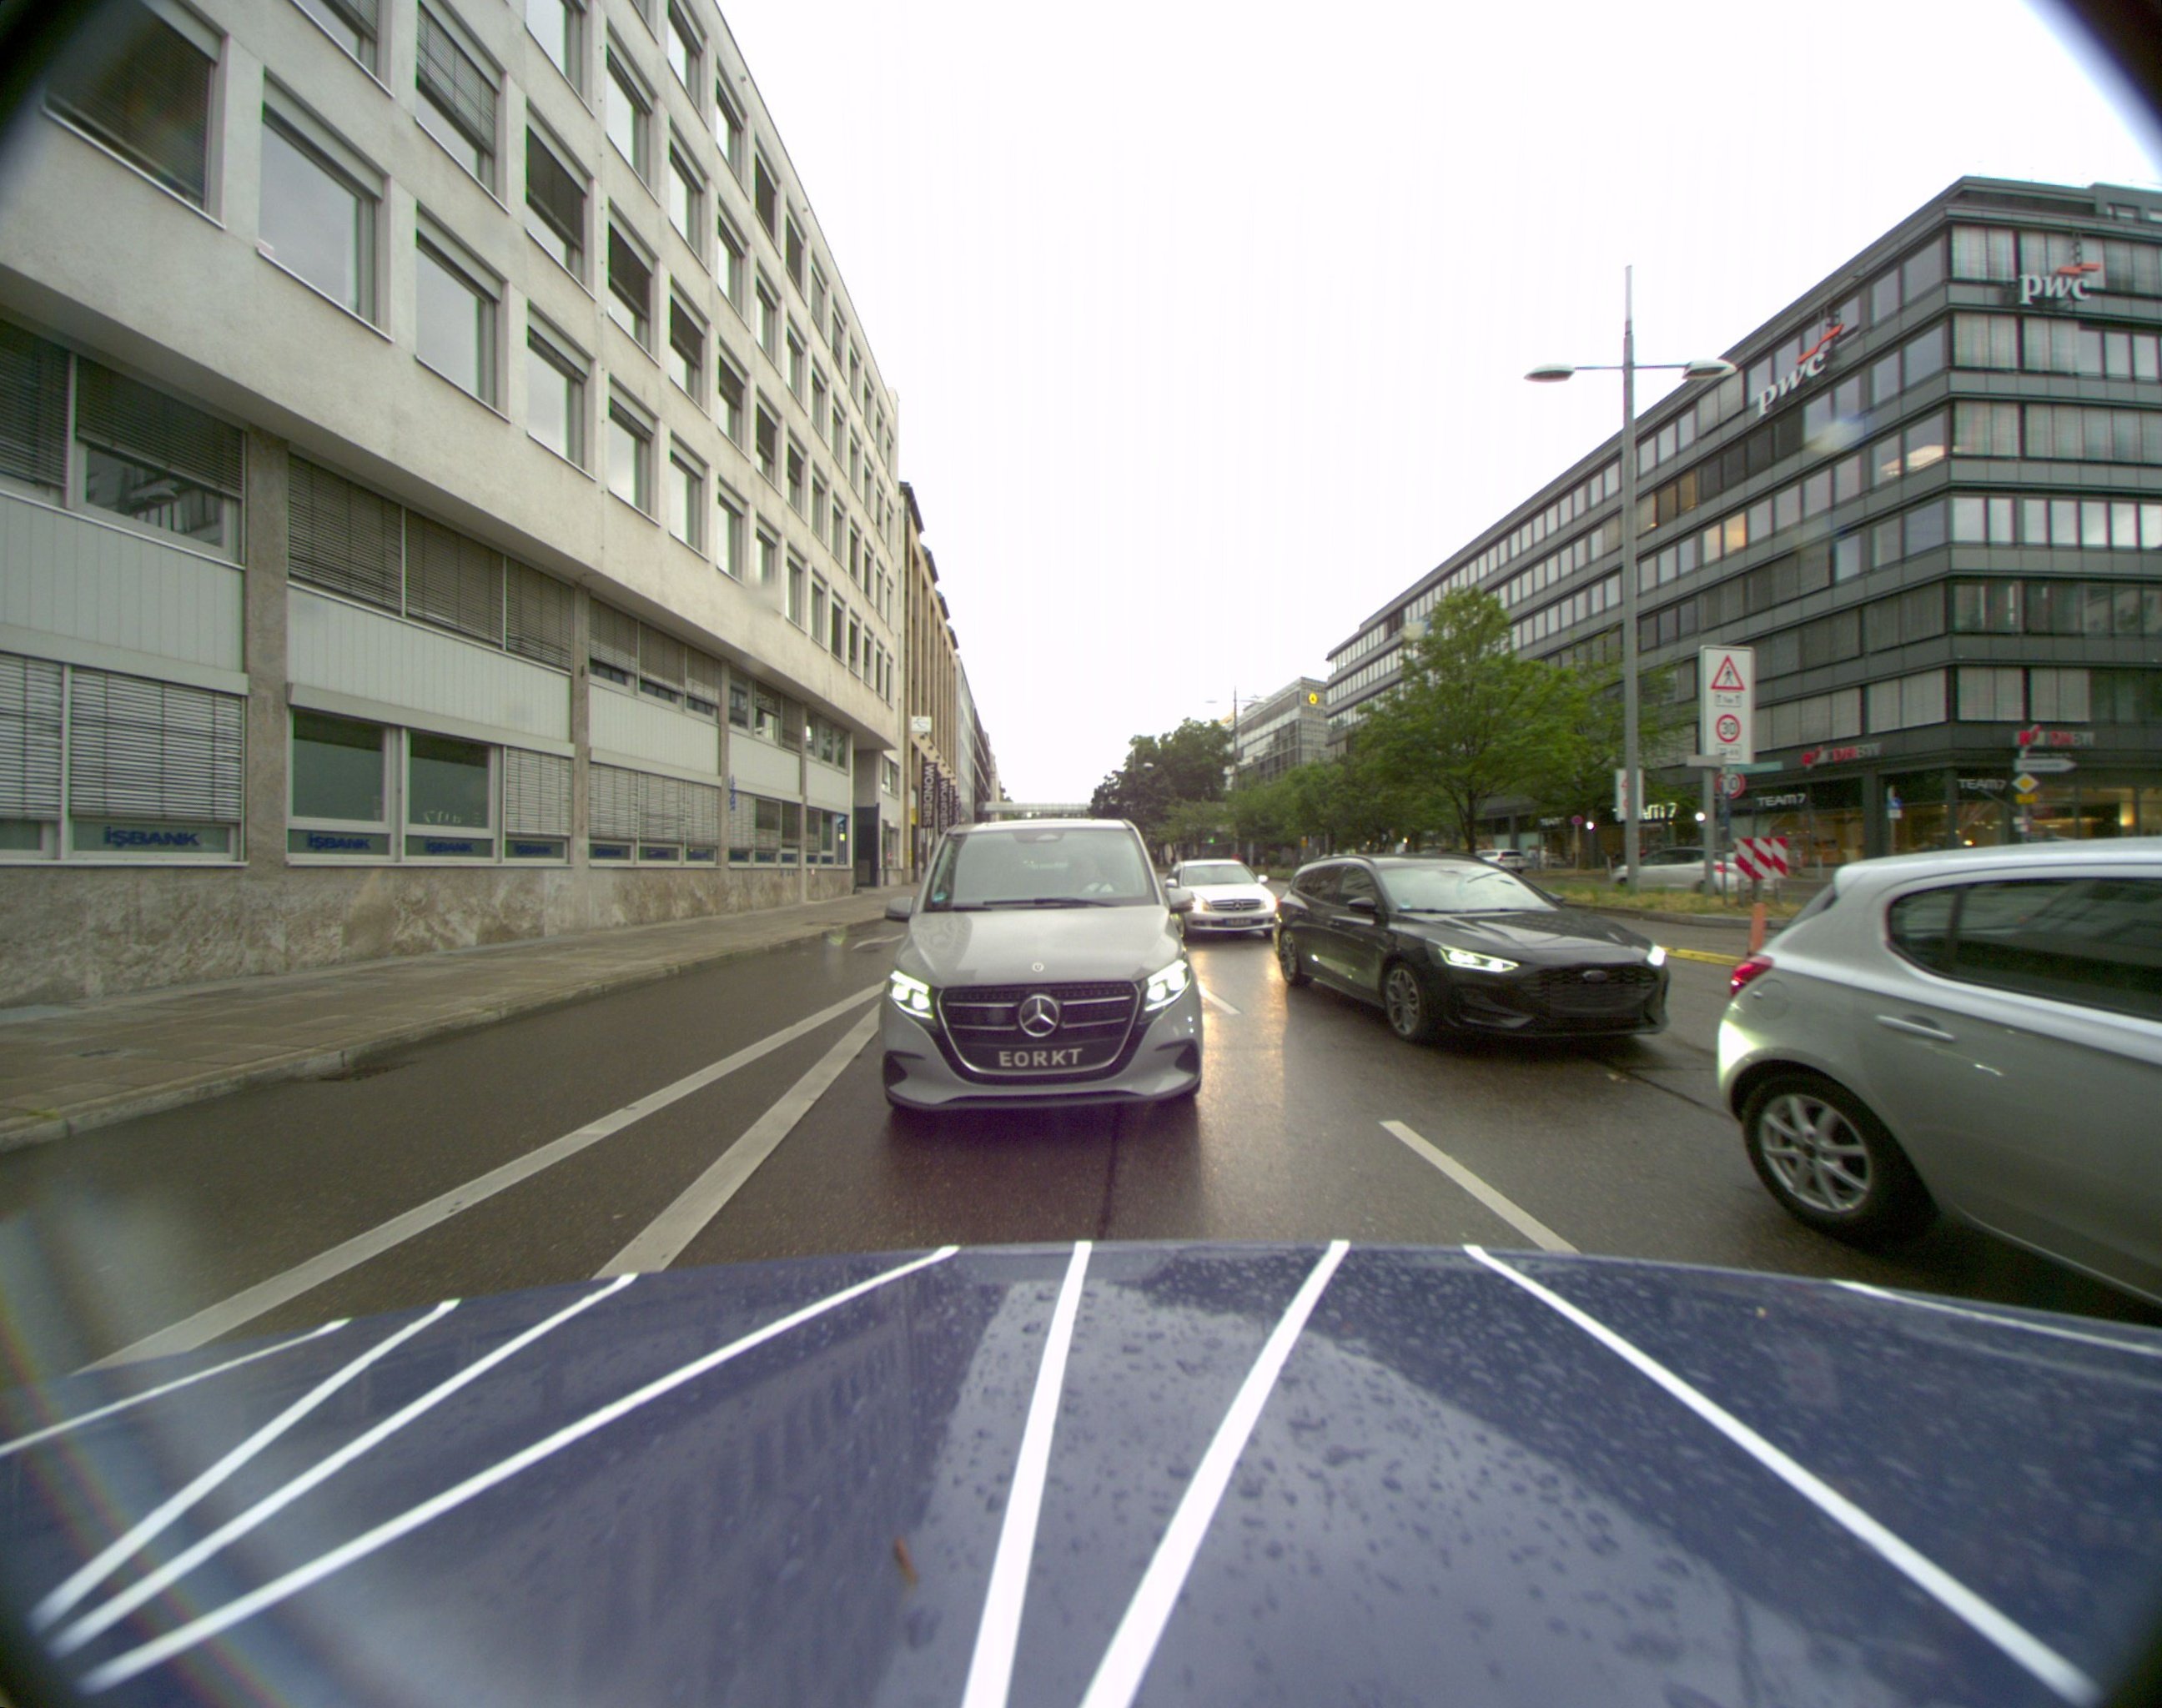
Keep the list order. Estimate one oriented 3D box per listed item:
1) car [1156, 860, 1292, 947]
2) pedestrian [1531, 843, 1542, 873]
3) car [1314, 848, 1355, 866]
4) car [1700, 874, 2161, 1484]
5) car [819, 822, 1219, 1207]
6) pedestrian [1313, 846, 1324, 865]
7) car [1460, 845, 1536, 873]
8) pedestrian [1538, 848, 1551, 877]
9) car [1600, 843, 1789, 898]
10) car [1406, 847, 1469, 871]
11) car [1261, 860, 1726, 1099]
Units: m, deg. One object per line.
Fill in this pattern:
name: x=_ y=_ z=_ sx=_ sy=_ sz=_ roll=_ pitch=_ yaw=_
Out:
car: x=2.608 y=0.851 z=14.853 sx=1.776 sy=1.372 sz=4.094 roll=-2 pitch=0 yaw=-1
pedestrian: x=30.916 y=0.286 z=51.538 sx=0.541 sy=2.002 sz=0.297 roll=-2 pitch=1 yaw=-5
car: x=22.270 y=0.266 z=66.925 sx=1.999 sy=1.498 sz=3.998 roll=-2 pitch=0 yaw=-4
car: x=3.504 y=0.830 z=1.317 sx=1.652 sy=1.427 sz=3.874 roll=-2 pitch=0 yaw=-1
car: x=-0.324 y=0.793 z=6.278 sx=1.916 sy=1.844 sz=5.026 roll=-2 pitch=0 yaw=-1
pedestrian: x=24.995 y=0.175 z=80.022 sx=0.928 sy=2.002 sz=0.539 roll=-2 pitch=1 yaw=-2
car: x=24.019 y=0.268 z=43.926 sx=1.999 sy=1.498 sz=3.998 roll=-2 pitch=0 yaw=-4
pedestrian: x=32.034 y=0.561 z=52.529 sx=0.575 sy=2.002 sz=0.461 roll=-2 pitch=1 yaw=-5
car: x=17.102 y=0.422 z=21.460 sx=1.751 sy=1.365 sz=3.996 roll=-2 pitch=0 yaw=-10
car: x=23.550 y=0.307 z=50.383 sx=1.999 sy=1.498 sz=4.106 roll=-2 pitch=0 yaw=-4
car: x=3.145 y=0.810 z=6.902 sx=1.776 sy=1.427 sz=4.093 roll=-2 pitch=0 yaw=-4
